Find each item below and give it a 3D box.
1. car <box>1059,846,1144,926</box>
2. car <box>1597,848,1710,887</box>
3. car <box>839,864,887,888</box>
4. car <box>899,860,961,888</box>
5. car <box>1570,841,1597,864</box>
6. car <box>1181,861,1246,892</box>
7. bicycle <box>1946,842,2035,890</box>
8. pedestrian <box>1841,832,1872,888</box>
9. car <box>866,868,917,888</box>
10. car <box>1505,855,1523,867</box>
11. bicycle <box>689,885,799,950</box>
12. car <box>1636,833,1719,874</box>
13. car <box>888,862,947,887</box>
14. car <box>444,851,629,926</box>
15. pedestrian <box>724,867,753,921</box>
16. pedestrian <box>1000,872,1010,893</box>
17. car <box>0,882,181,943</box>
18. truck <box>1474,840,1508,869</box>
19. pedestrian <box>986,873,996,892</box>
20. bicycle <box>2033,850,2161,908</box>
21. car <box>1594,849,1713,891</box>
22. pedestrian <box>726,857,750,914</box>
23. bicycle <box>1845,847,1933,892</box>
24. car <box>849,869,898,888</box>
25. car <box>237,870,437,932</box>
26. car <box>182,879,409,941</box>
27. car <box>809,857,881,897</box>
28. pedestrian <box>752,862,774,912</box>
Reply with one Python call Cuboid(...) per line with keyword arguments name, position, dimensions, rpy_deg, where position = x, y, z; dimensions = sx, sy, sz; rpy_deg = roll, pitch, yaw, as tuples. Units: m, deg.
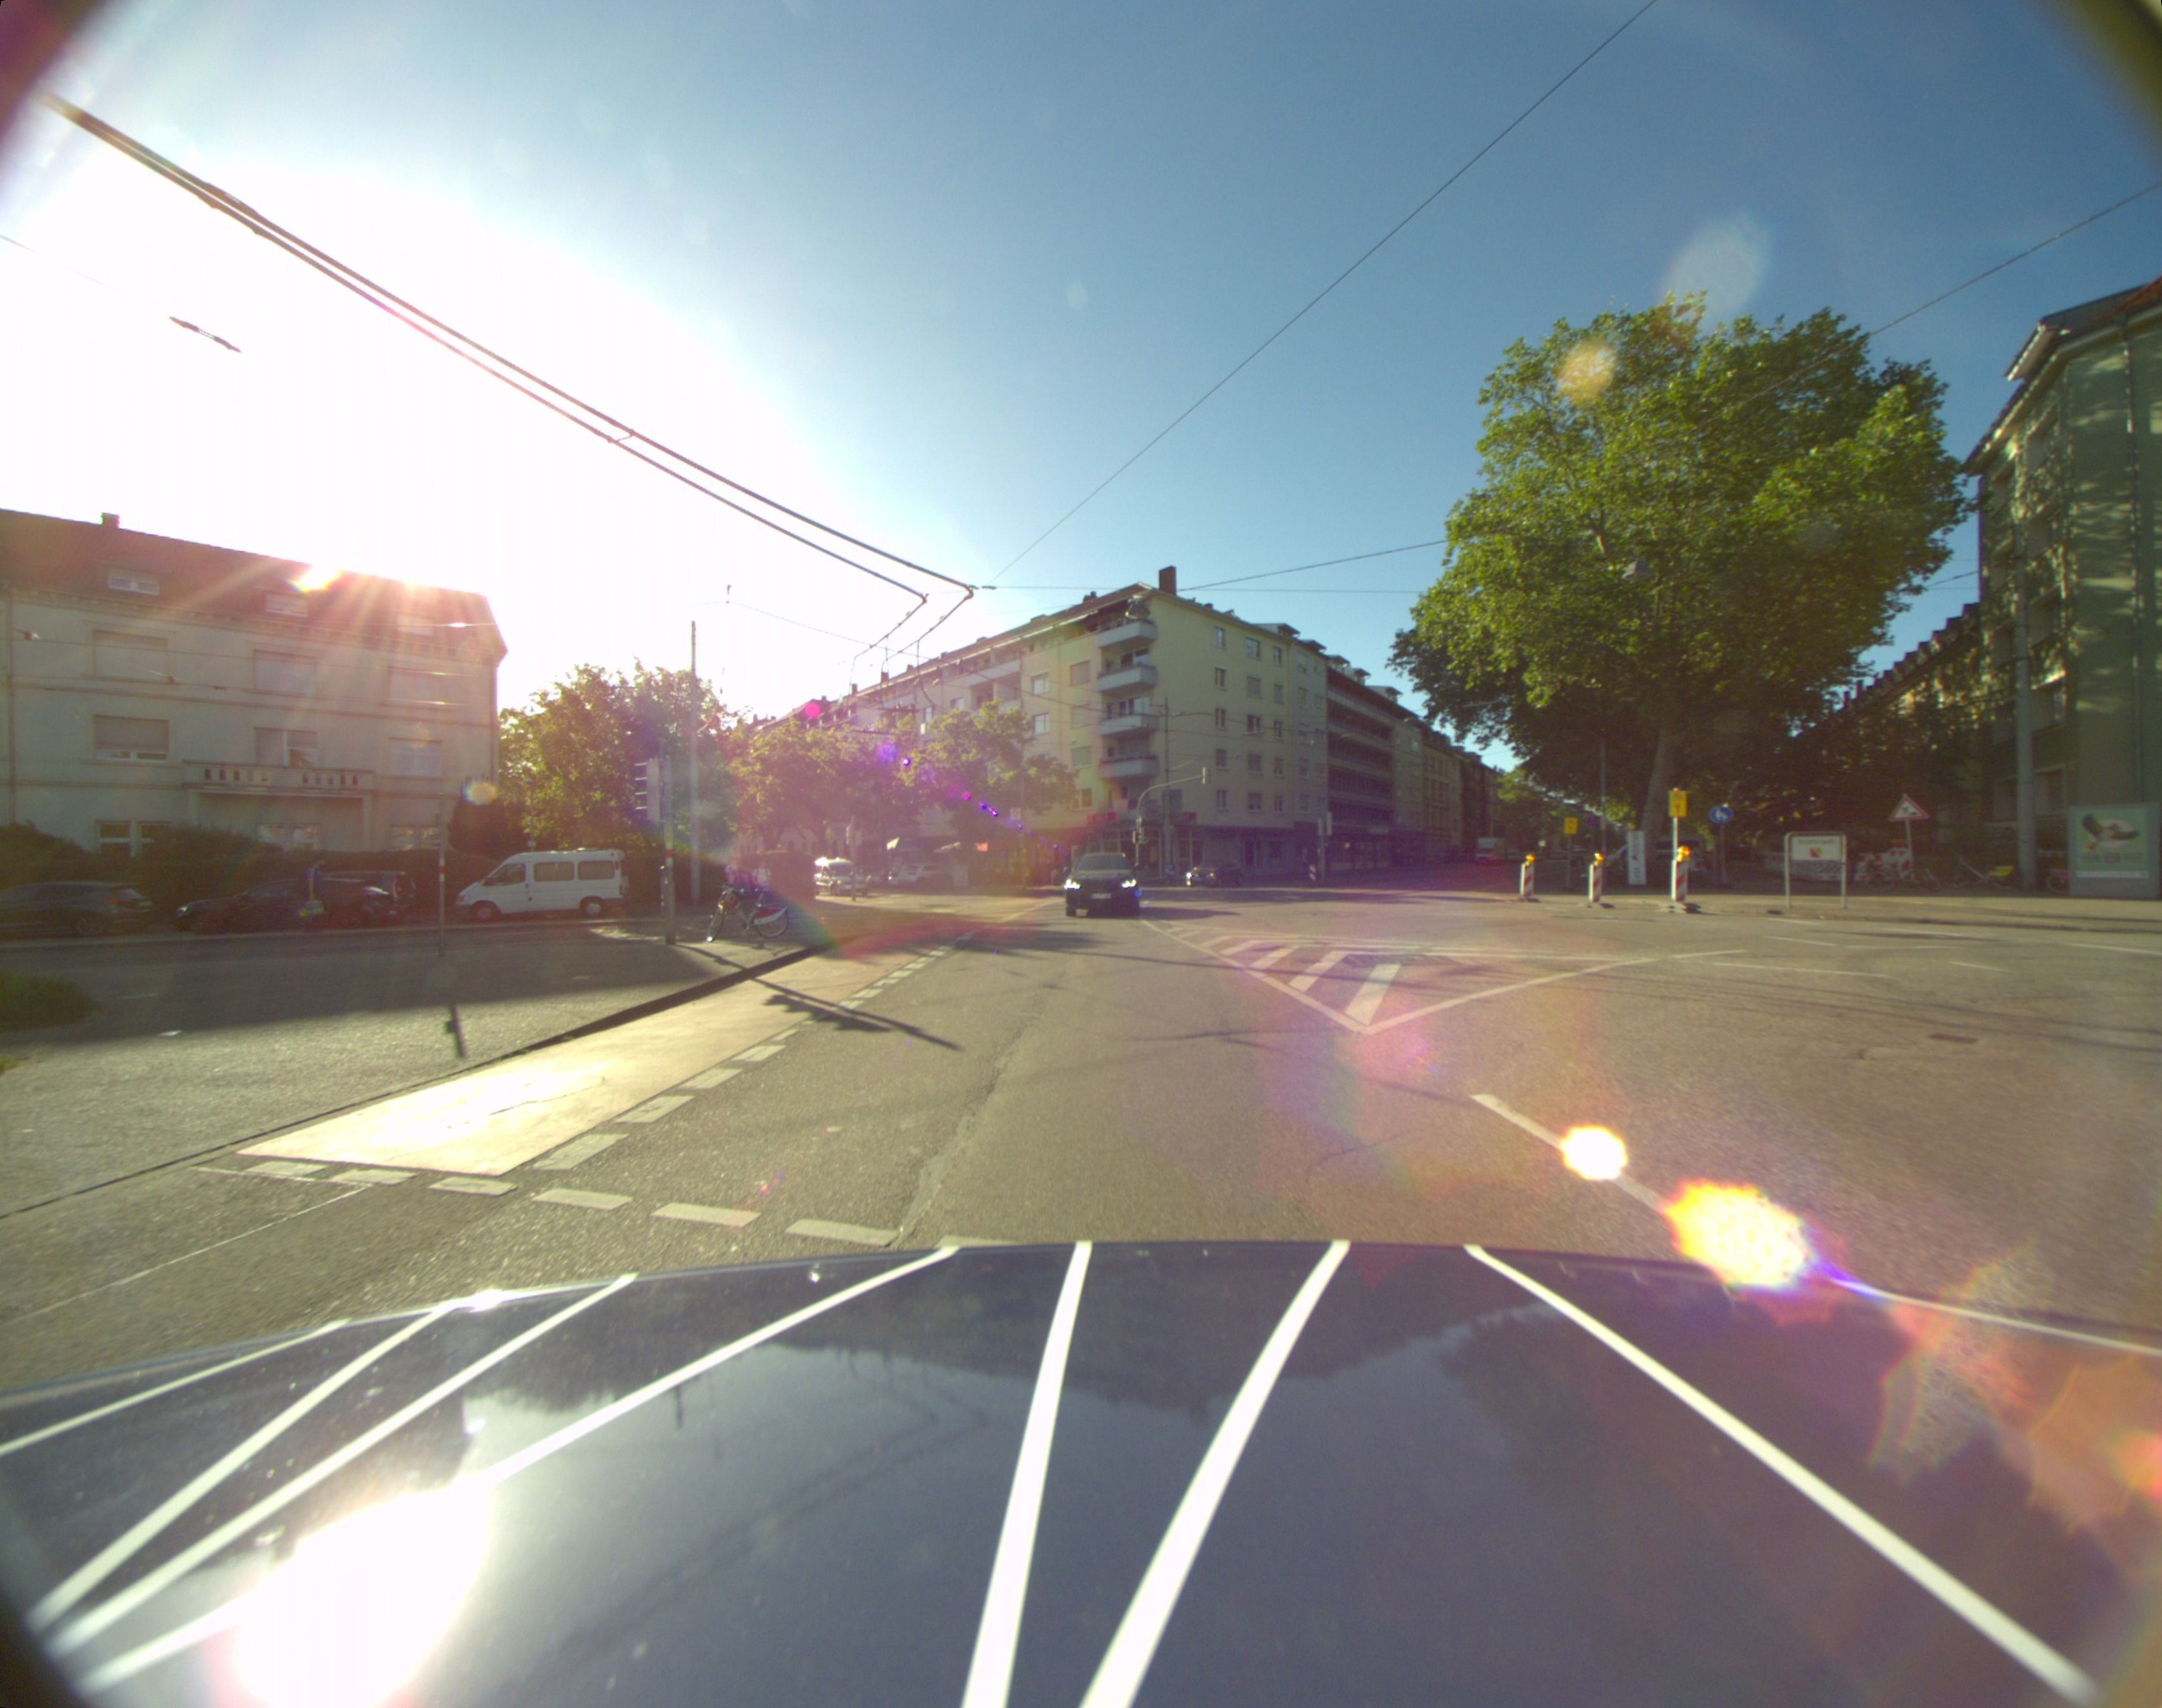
Cuboid(name="car", position=(0.688, 0.817, 20.920), dimensions=(1.940, 1.922, 4.526), rpy_deg=(-2, -1, 6))
Cuboid(name="car", position=(27.154, 0.674, 36.115), dimensions=(4.139, 1.630, 1.778), rpy_deg=(-4, 0, 38))
Cuboid(name="car", position=(-14.972, 1.505, 52.280), dimensions=(2.802, 1.522, 1.324), rpy_deg=(-3, 0, -37))
Cuboid(name="car", position=(-8.966, 1.182, 45.126), dimensions=(3.204, 1.478, 1.576), rpy_deg=(-3, 0, -37))
Cuboid(name="car", position=(53.216, -0.186, 80.493), dimensions=(1.964, 2.255, 4.430), rpy_deg=(-3, 0, 38))
Cuboid(name="car", position=(6.826, 1.133, 38.835), dimensions=(1.698, 1.432, 3.654), rpy_deg=(-4, -3, 38))
Cuboid(name="bicycle", position=(28.162, 0.350, 23.569), dimensions=(0.773, 1.372, 2.055), rpy_deg=(-1, 2, 18))
Cuboid(name="pedestrian", position=(28.148, 0.208, 27.575), dimensions=(0.929, 1.952, 0.695), rpy_deg=(-3, 0, -43))
Cuboid(name="car", position=(-12.104, 1.530, 48.649), dimensions=(2.802, 1.076, 1.324), rpy_deg=(-3, 0, -37))
Cuboid(name="car", position=(57.306, 0.942, 100.591), dimensions=(1.698, 1.432, 3.653), rpy_deg=(-4, -1, 35))
Cuboid(name="bicycle", position=(-6.419, 1.185, 14.522), dimensions=(1.810, 1.120, 0.626), rpy_deg=(0, -3, -40))
Cuboid(name="car", position=(41.680, -0.019, 53.198), dimensions=(4.410, 2.611, 1.973), rpy_deg=(-4, 0, 38))
Cuboid(name="car", position=(-10.213, 1.277, 47.562), dimensions=(3.204, 1.394, 1.576), rpy_deg=(-3, 0, -37))
Cuboid(name="car", position=(-17.248, 1.042, 24.392), dimensions=(4.563, 2.163, 1.948), rpy_deg=(-1, -1, -28))
Cuboid(name="pedestrian", position=(-10.536, 1.214, 23.351), dimensions=(0.672, 1.583, 0.727), rpy_deg=(-3, 0, -29))
Cuboid(name="pedestrian", position=(-4.764, 1.796, 47.770), dimensions=(0.384, 1.268, 0.495), rpy_deg=(-3, -3, 20))
Cuboid(name="car", position=(-27.168, 1.529, 20.148), dimensions=(3.780, 1.458, 1.968), rpy_deg=(-1, -1, -28))
Cuboid(name="truck", position=(46.989, 0.009, 86.960), dimensions=(2.338, 2.954, 8.047), rpy_deg=(-3, 0, 36))
Cuboid(name="pedestrian", position=(-5.975, 1.891, 50.448), dimensions=(0.384, 1.268, 0.495), rpy_deg=(-3, -3, 20))
Cuboid(name="bicycle", position=(26.341, 0.609, 19.623), dimensions=(0.775, 1.372, 2.049), rpy_deg=(-2, 2, -19))
Cuboid(name="car", position=(25.709, 0.736, 34.225), dimensions=(4.139, 1.630, 1.778), rpy_deg=(-4, 0, 38))
Cuboid(name="pedestrian", position=(-11.960, 1.091, 26.484), dimensions=(0.595, 1.919, 0.852), rpy_deg=(-3, 0, -29))
Cuboid(name="bicycle", position=(27.881, 0.519, 26.270), dimensions=(0.727, 1.453, 2.047), rpy_deg=(-4, 3, -44))
Cuboid(name="car", position=(-13.603, 1.627, 49.817), dimensions=(2.802, 1.076, 1.324), rpy_deg=(-3, 0, -37))
Cuboid(name="car", position=(-21.676, 1.329, 22.381), dimensions=(3.780, 1.594, 1.968), rpy_deg=(-1, -1, -28))
Cuboid(name="car", position=(-20.308, 1.402, 19.888), dimensions=(3.697, 1.388, 1.895), rpy_deg=(-1, -1, -28))
Cuboid(name="car", position=(-12.033, 1.192, 38.596), dimensions=(1.860, 1.795, 4.209), rpy_deg=(-3, -1, -41))
Cuboid(name="pedestrian", position=(-11.262, 1.165, 26.918), dimensions=(0.555, 1.726, 0.628), rpy_deg=(-3, 0, -29))
